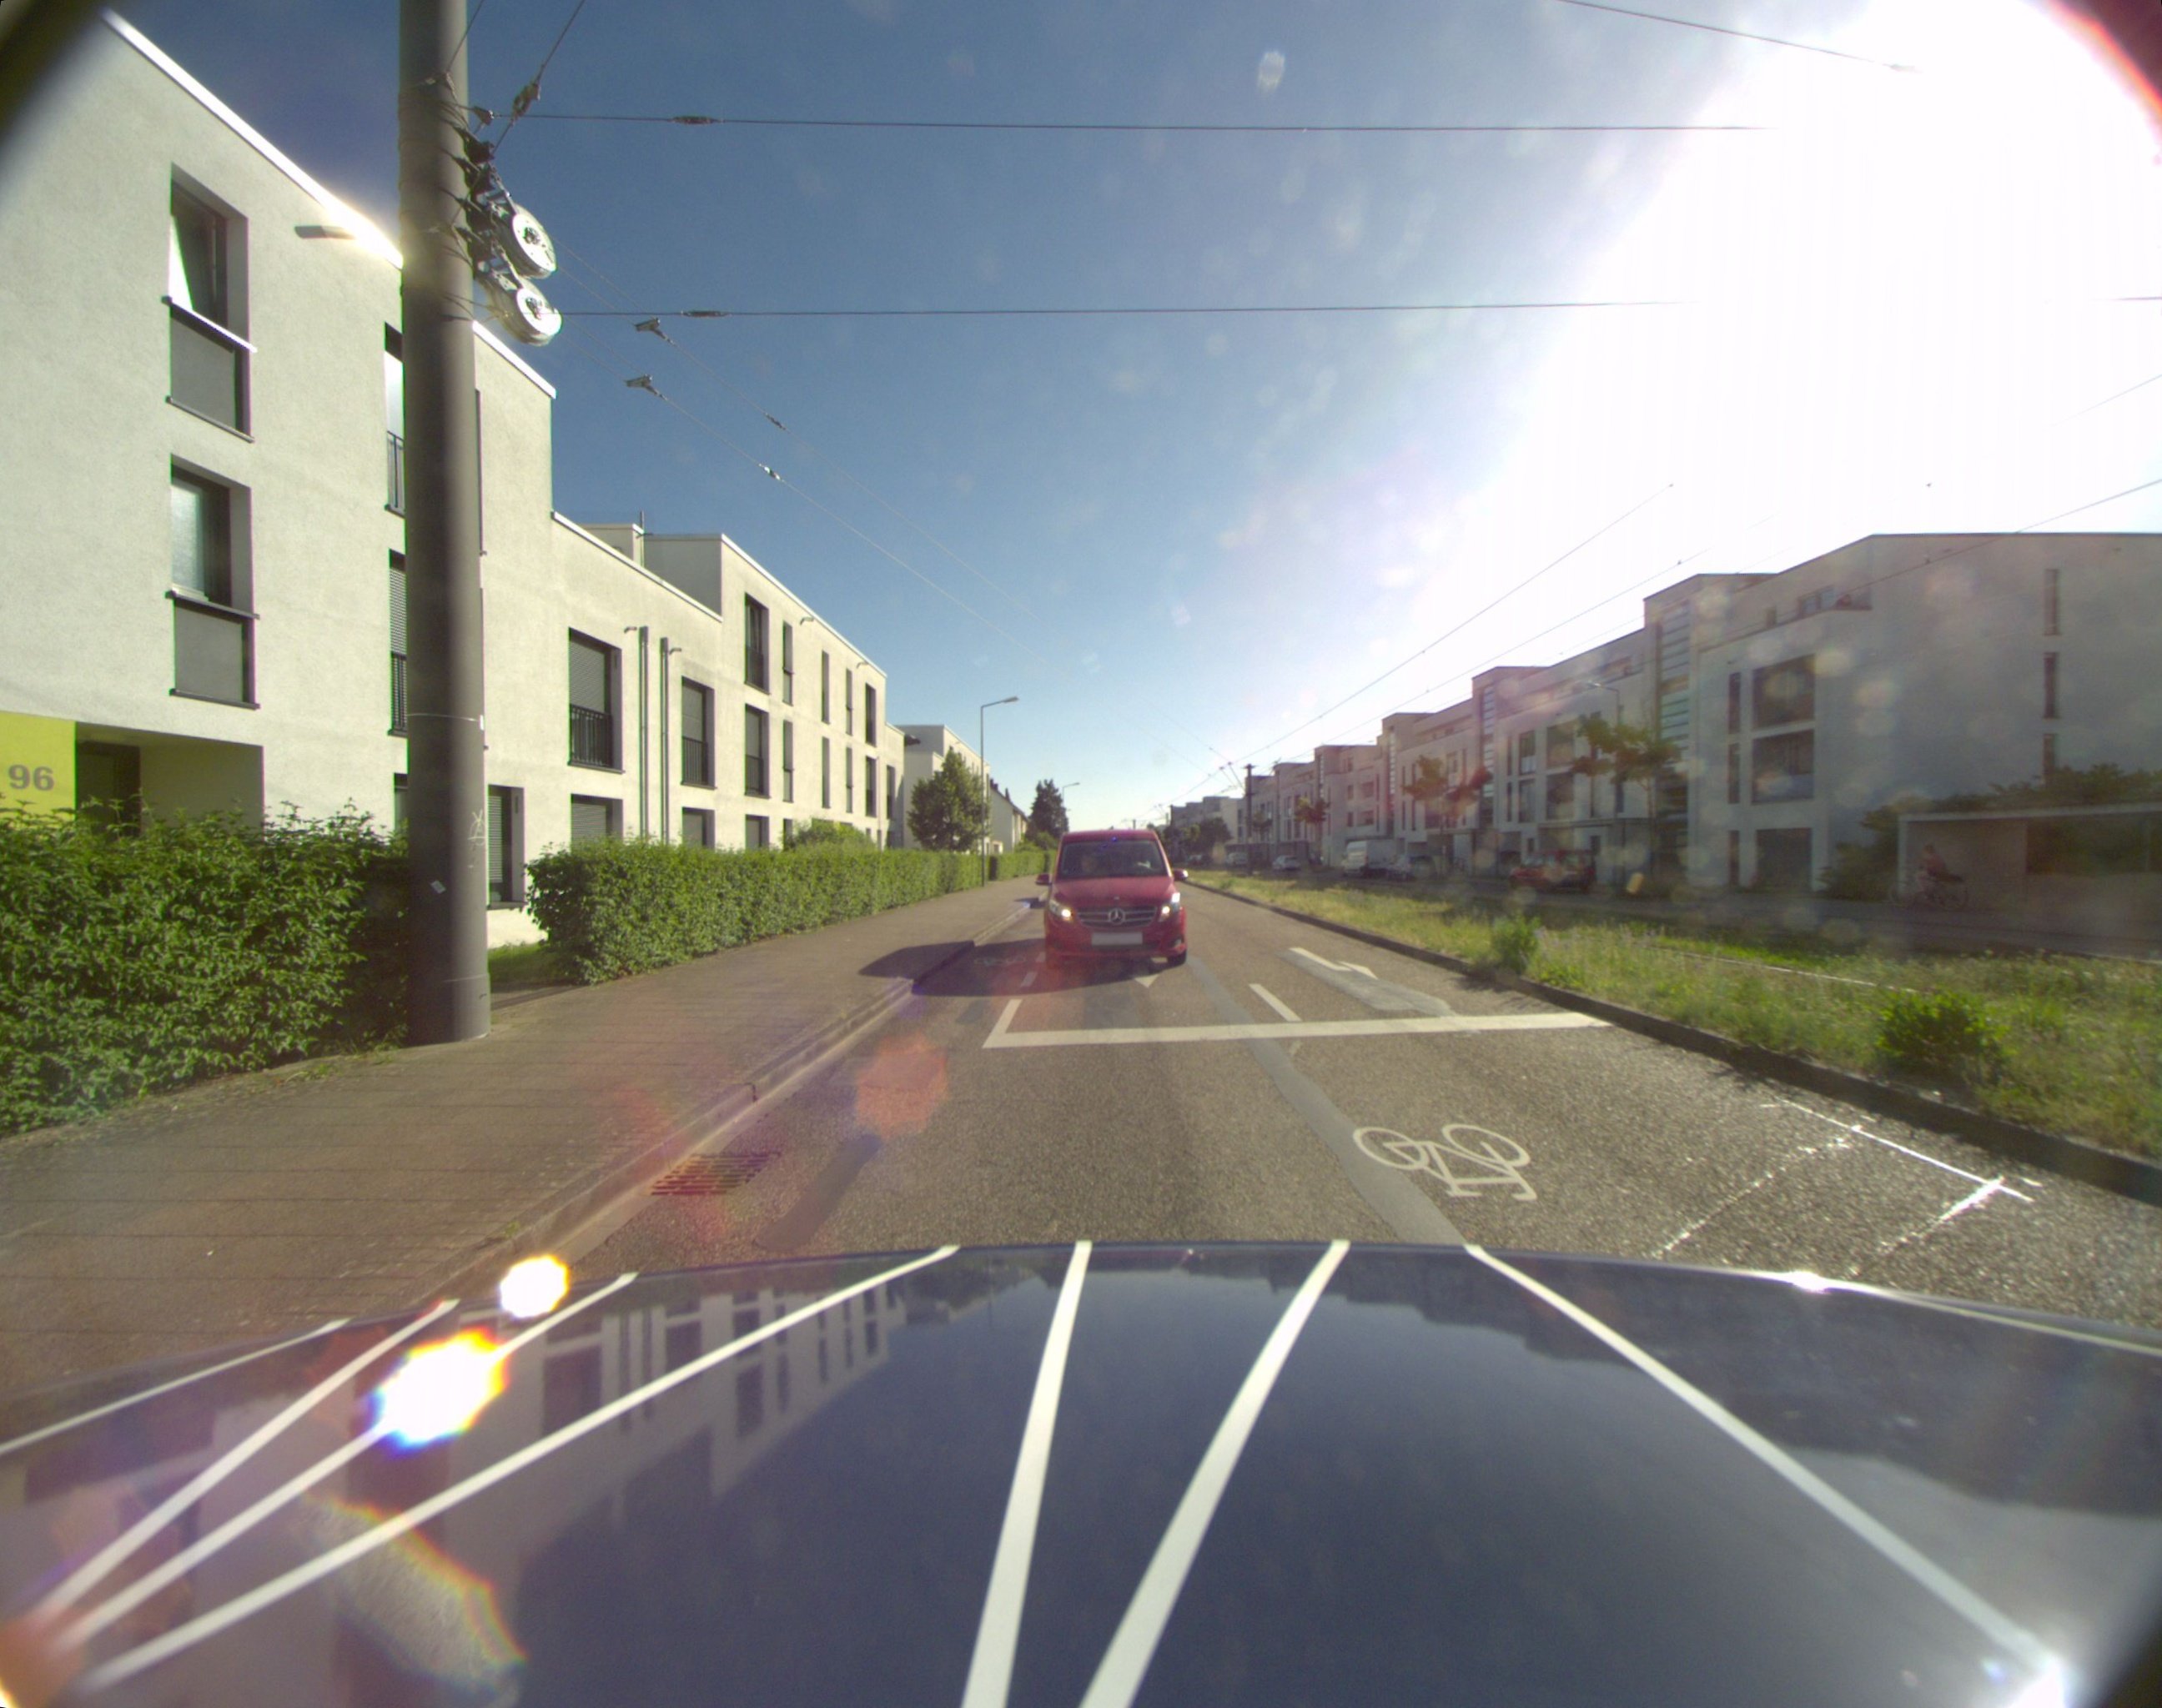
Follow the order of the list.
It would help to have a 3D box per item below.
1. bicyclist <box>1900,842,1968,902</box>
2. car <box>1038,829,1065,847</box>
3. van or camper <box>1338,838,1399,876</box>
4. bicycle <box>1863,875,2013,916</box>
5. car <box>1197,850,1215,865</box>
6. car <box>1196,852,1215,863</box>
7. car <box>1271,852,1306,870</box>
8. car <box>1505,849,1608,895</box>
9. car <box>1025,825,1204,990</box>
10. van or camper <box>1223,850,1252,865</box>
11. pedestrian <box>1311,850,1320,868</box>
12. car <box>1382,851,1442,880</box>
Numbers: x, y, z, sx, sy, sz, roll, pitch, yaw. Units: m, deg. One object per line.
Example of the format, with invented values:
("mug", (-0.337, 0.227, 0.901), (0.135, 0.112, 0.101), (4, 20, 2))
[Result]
("bicyclist", (21.540, 0.447, 19.201), (0.891, 1.482, 0.746), (0, 1, -4))
("car", (-4.134, -2.258, 107.094), (3.182, 2.333, 6.176), (-2, 0, 3))
("van or camper", (19.302, 0.192, 51.211), (2.197, 2.450, 5.260), (0, 0, 1))
("bicycle", (21.546, 1.011, 19.205), (0.902, 0.887, 2.483), (0, 0, -4))
("car", (18.407, 0.507, 111.994), (1.787, 2.002, 3.999), (-2, 0, -2))
("car", (17.239, 0.470, 105.108), (1.867, 1.430, 3.495), (-2, 1, -3))
("car", (19.548, 0.627, 71.727), (2.046, 1.577, 4.120), (0, 0, -1))
("car", (19.102, 0.677, 30.735), (1.793, 1.713, 3.908), (1, 1, 3))
("car", (0.516, 0.665, 11.867), (2.127, 1.958, 5.084), (-2, 0, 2))
("van or camper", (19.168, 0.401, 93.306), (2.272, 1.838, 6.285), (-1, 0, 0))
("pedestrian", (21.879, 0.469, 70.933), (0.619, 1.634, 0.612), (-2, 1, -5))
("car", (19.277, 0.631, 44.458), (1.934, 1.604, 3.836), (0, 0, 1))
